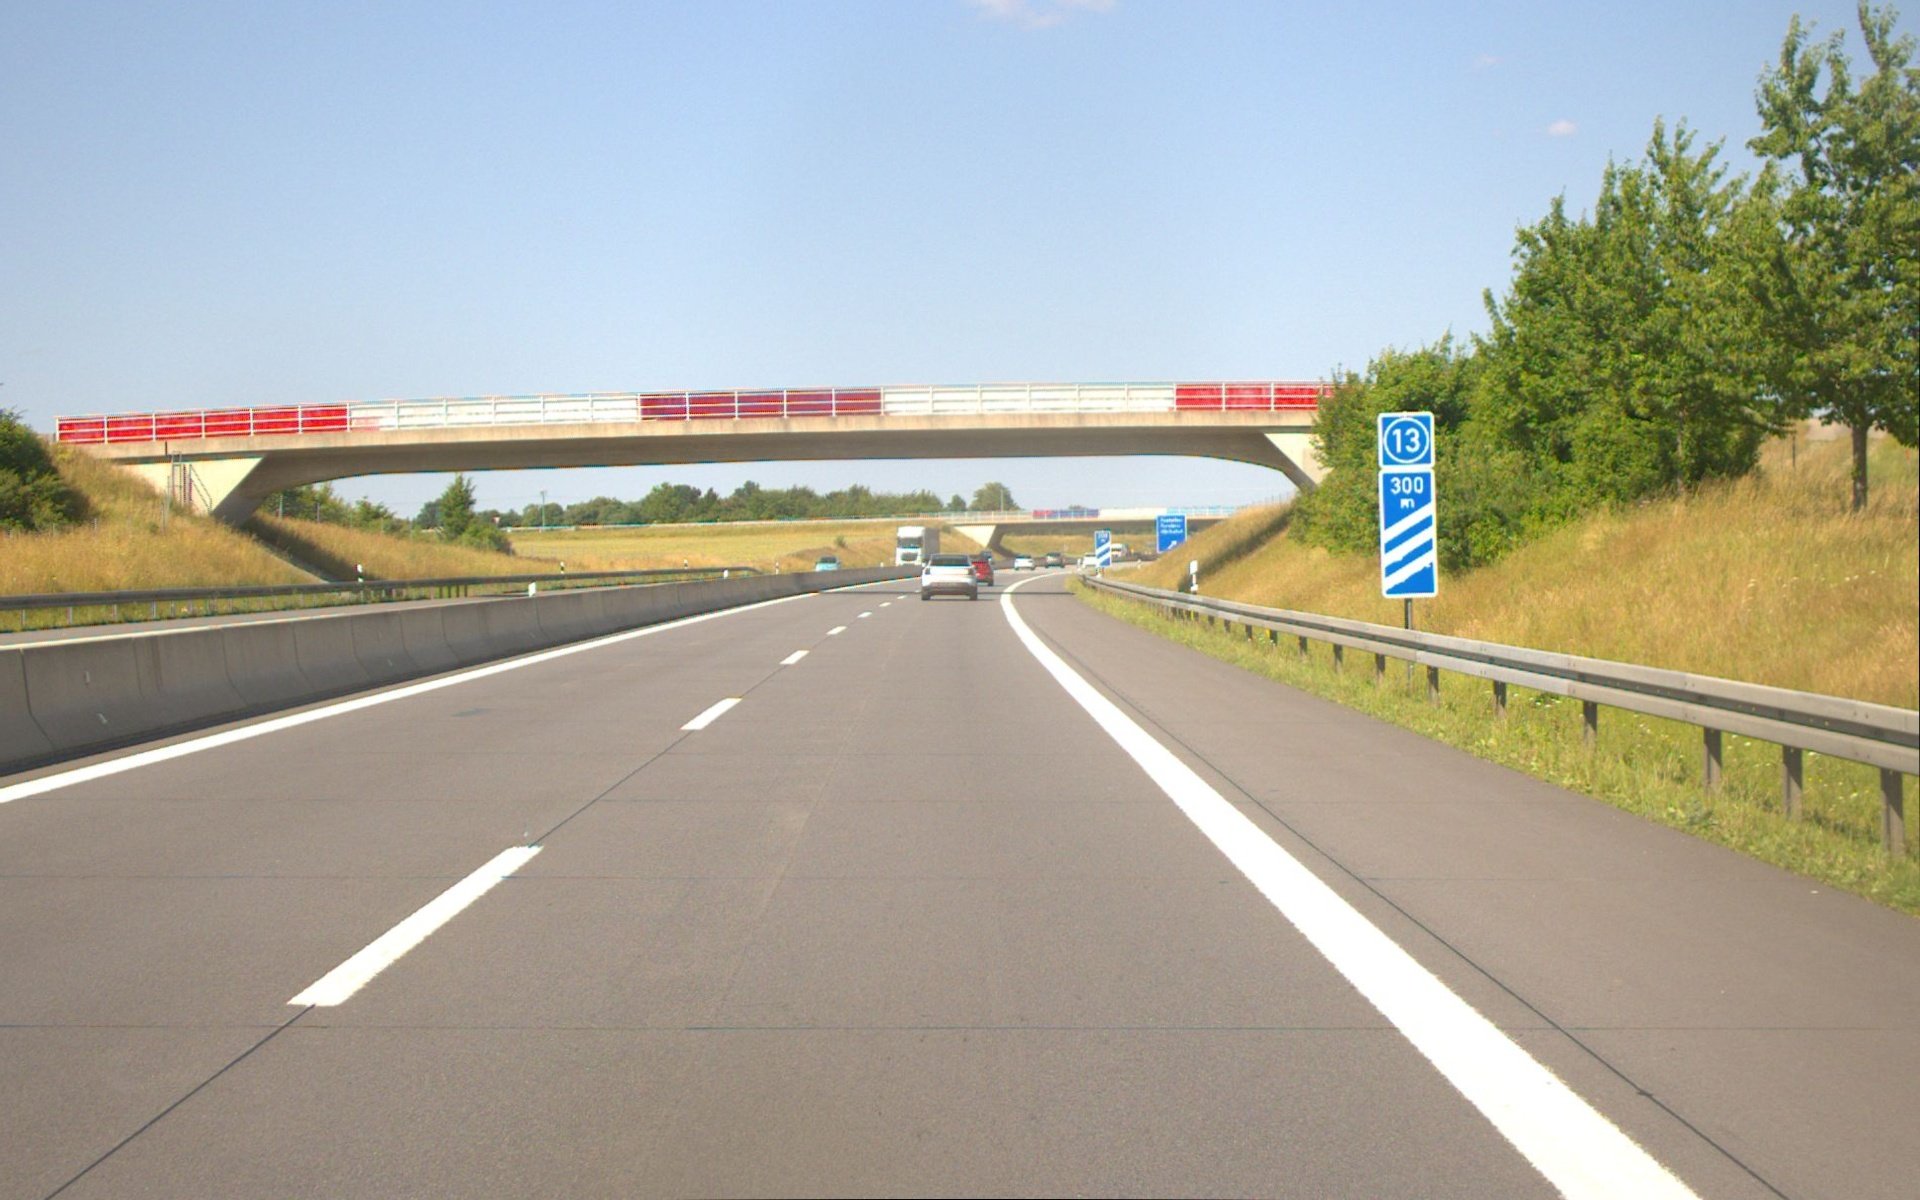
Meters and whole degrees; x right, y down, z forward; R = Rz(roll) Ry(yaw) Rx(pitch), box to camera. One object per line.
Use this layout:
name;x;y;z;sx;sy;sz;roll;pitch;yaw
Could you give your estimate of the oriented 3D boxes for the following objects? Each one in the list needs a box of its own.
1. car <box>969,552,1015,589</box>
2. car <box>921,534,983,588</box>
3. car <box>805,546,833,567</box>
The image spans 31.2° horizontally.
car;1.573;-1.464;166.943;1.994;1.725;4.869;-1;1;2
car;-0.279;-1.301;114.590;1.993;1.725;4.869;-1;1;-1
car;-10.204;-3.166;249.369;1.660;1.448;4.000;0;1;3
